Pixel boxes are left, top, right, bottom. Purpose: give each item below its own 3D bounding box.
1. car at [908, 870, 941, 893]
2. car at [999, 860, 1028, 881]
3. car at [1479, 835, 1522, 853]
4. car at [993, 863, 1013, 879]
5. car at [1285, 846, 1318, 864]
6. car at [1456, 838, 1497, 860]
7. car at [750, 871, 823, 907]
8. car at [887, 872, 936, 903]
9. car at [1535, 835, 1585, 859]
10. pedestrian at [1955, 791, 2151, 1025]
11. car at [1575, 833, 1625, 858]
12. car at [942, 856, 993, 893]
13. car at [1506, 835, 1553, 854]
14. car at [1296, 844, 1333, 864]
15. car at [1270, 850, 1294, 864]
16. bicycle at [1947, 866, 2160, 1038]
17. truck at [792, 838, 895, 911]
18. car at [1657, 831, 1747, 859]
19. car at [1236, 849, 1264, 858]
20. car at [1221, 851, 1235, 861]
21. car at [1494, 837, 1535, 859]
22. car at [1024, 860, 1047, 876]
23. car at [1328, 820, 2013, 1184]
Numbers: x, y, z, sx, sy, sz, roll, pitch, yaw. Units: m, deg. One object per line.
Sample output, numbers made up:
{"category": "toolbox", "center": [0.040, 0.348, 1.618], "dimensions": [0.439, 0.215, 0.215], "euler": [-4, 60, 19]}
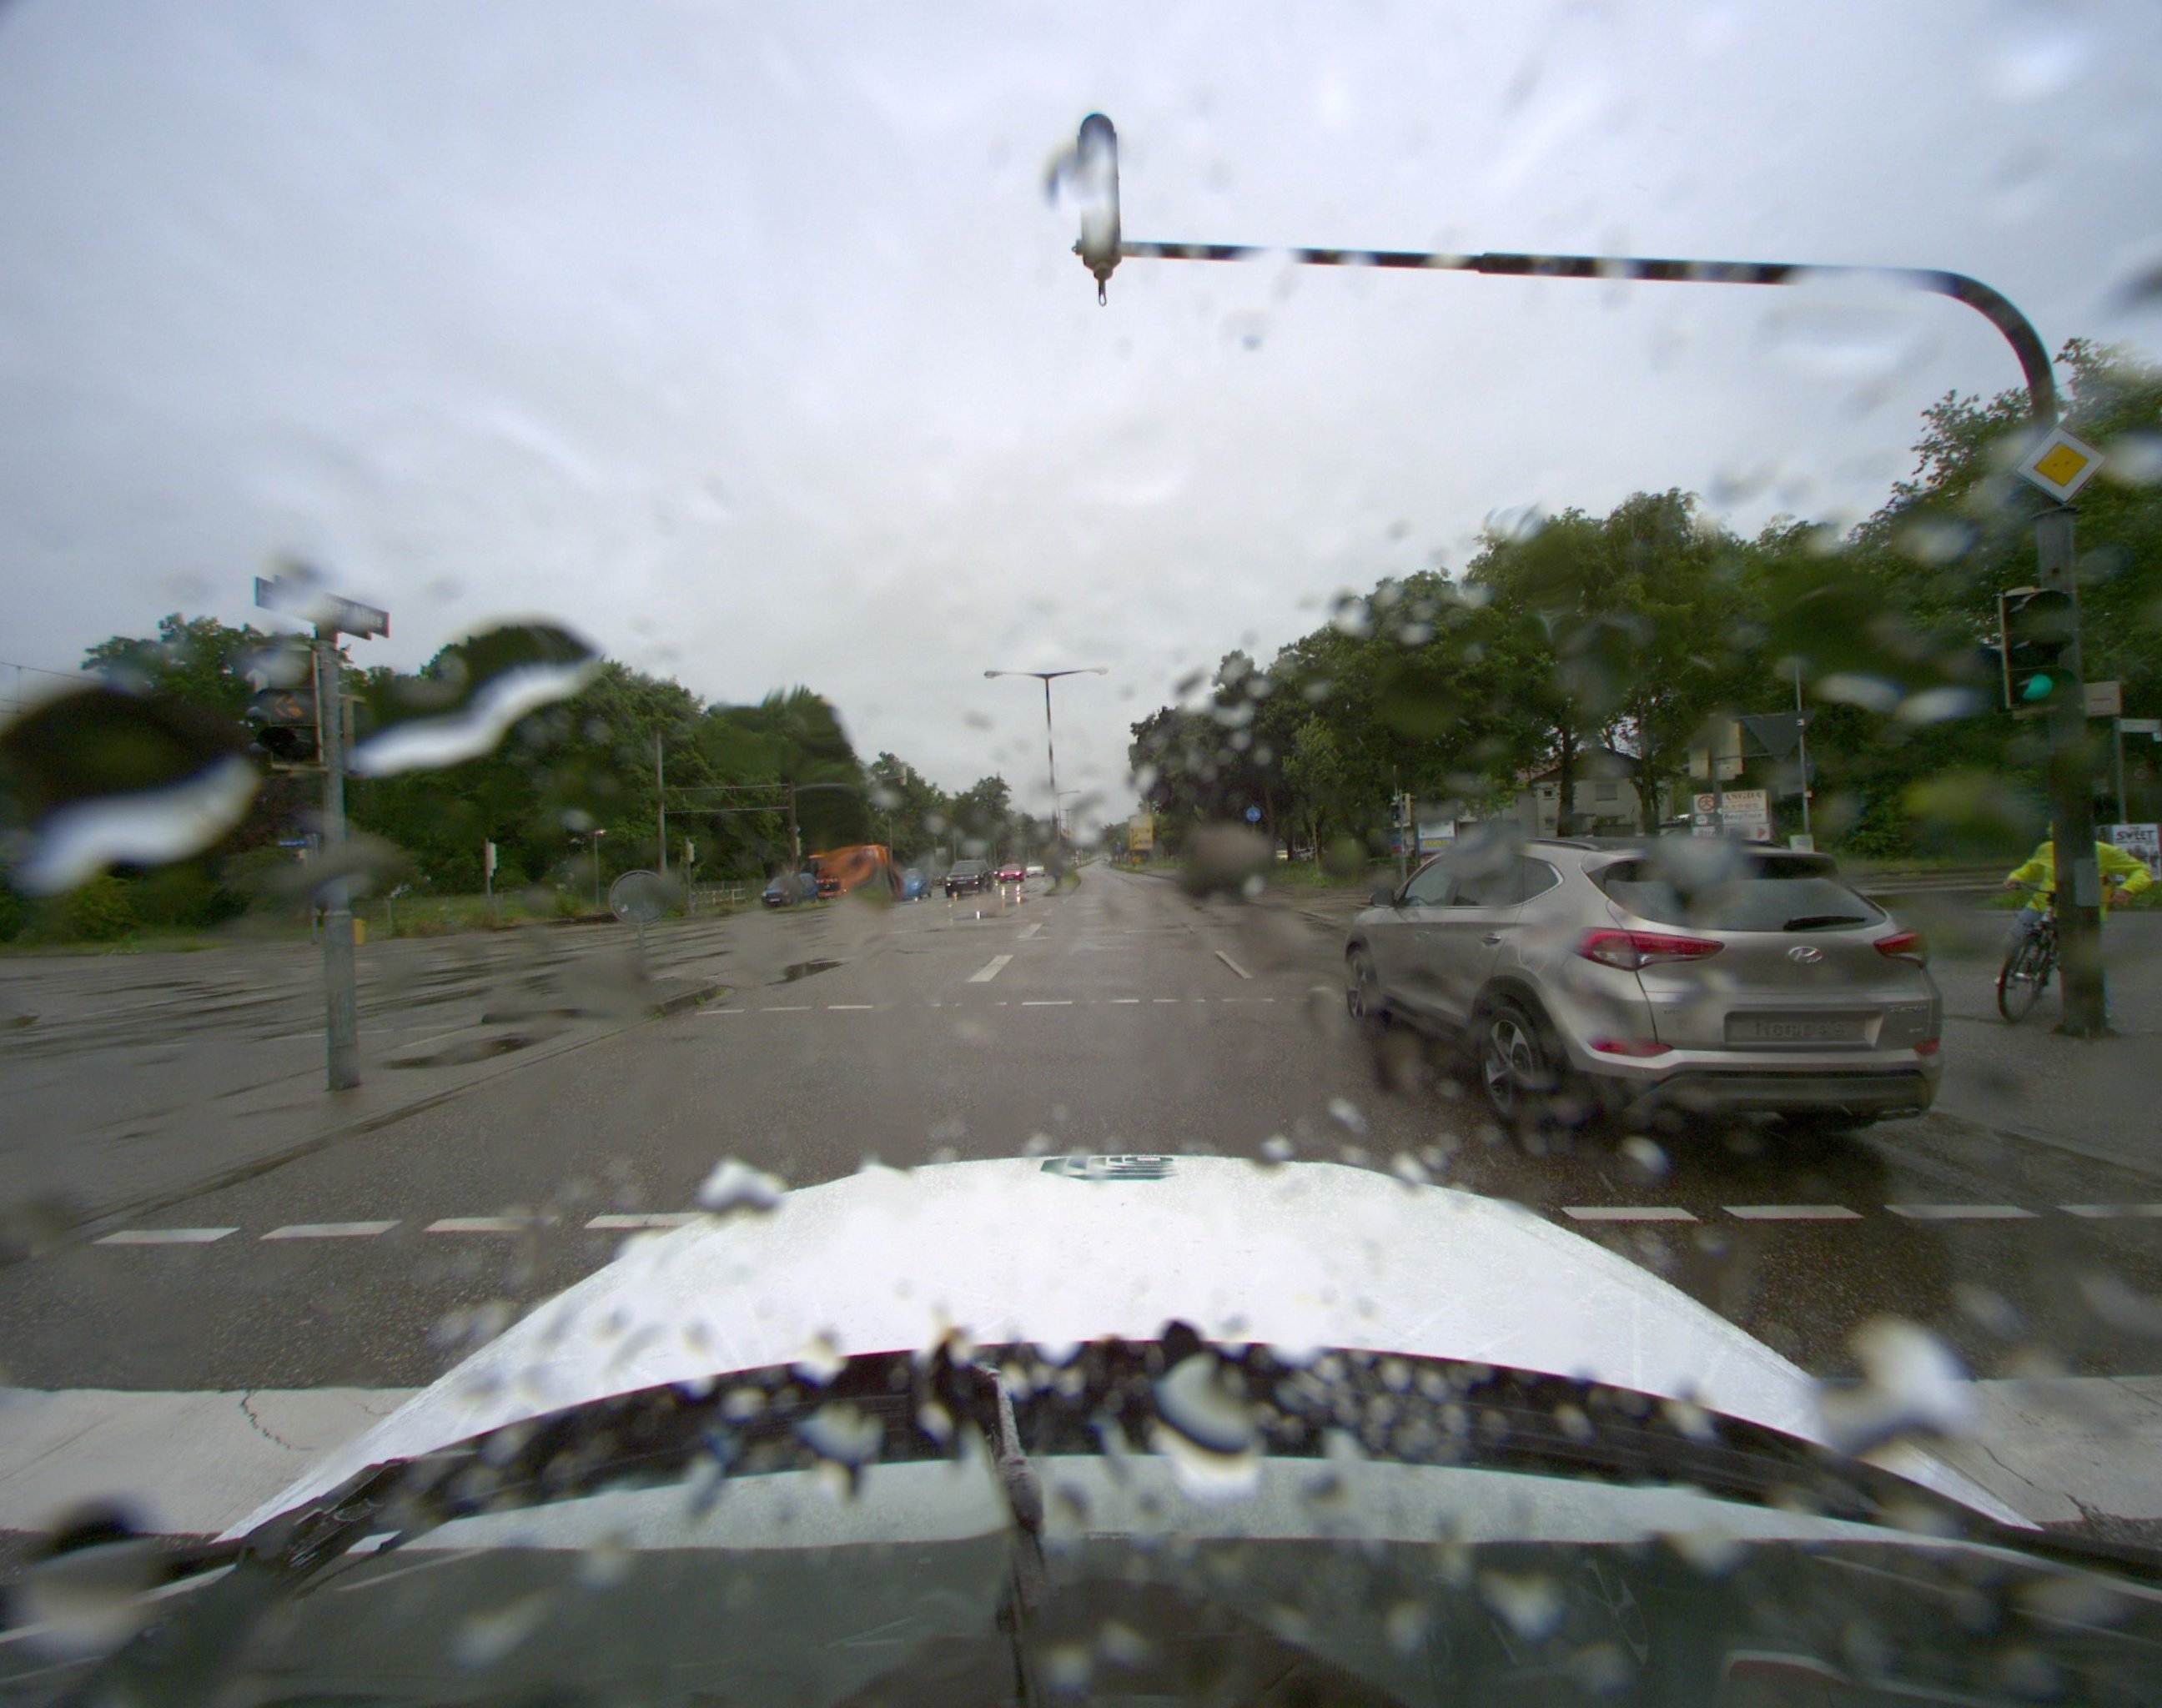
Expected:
{"category": "car", "center": [-13.660, 2.378, 71.220], "dimensions": [1.987, 1.827, 4.770], "euler": [-1, -1, 0]}
{"category": "car", "center": [-5.490, 1.344, 66.502], "dimensions": [1.795, 1.569, 4.428], "euler": [-4, -1, 1]}
{"category": "car", "center": [34.364, -0.773, 66.837], "dimensions": [1.567, 1.316, 3.699], "euler": [-1, -1, -1]}
{"category": "car", "center": [-9.027, 1.975, 94.485], "dimensions": [1.700, 1.641, 4.332], "euler": [-4, -1, 2]}
{"category": "car", "center": [22.345, 0.143, 82.787], "dimensions": [1.988, 1.717, 4.640], "euler": [-3, -1, -1]}
{"category": "car", "center": [27.122, -0.324, 55.839], "dimensions": [1.648, 1.449, 3.775], "euler": [-2, -1, 40]}
{"category": "car", "center": [-15.200, 1.754, 42.292], "dimensions": [1.985, 1.709, 4.529], "euler": [-1, -1, 2]}
{"category": "car", "center": [-8.863, 1.712, 42.843], "dimensions": [1.636, 1.427, 3.998], "euler": [-5, -1, -1]}
{"category": "car", "center": [30.776, -0.443, 52.253], "dimensions": [3.772, 1.449, 1.650], "euler": [0, -1, -41]}
{"category": "pedestrian", "center": [7.642, 0.401, 6.420], "dimensions": [0.671, 1.678, 0.781], "euler": [-6, -1, -32]}
{"category": "car", "center": [32.412, -0.493, 50.820], "dimensions": [3.772, 1.449, 1.584], "euler": [0, -1, -41]}
{"category": "car", "center": [-6.021, 1.051, 43.760], "dimensions": [1.799, 1.773, 5.090], "euler": [-4, -1, 1]}
{"category": "car", "center": [36.881, -0.772, 67.018], "dimensions": [1.579, 1.385, 3.998], "euler": [-1, -1, -1]}
{"category": "car", "center": [22.046, 0.067, 77.150], "dimensions": [1.988, 1.717, 4.876], "euler": [-3, -1, -1]}
{"category": "car", "center": [22.329, 0.303, 90.685], "dimensions": [1.632, 1.486, 4.071], "euler": [-1, -1, -1]}
{"category": "bicycle", "center": [7.686, 0.712, 6.424], "dimensions": [1.671, 1.038, 0.781], "euler": [-6, -1, -32]}
{"category": "truck", "center": [-14.950, 1.265, 52.434], "dimensions": [3.373, 4.168, 10.407], "euler": [-1, -1, 1]}
{"category": "car", "center": [34.414, -0.498, 45.195], "dimensions": [3.694, 1.449, 1.671], "euler": [-1, -1, 2]}
{"category": "car", "center": [30.736, -0.101, 148.128], "dimensions": [4.561, 1.645, 1.997], "euler": [-1, -1, -5]}
{"category": "car", "center": [23.840, 0.322, 132.235], "dimensions": [1.737, 1.445, 4.126], "euler": [-3, 1, 4]}
{"category": "car", "center": [29.087, -0.377, 54.563], "dimensions": [1.648, 1.449, 3.775], "euler": [-2, -1, 40]}
{"category": "car", "center": [-4.782, 1.468, 86.606], "dimensions": [1.954, 1.617, 4.698], "euler": [-3, 0, 1]}
{"category": "car", "center": [3.271, 0.666, 5.747], "dimensions": [1.877, 1.610, 4.197], "euler": [-1, 0, 2]}
